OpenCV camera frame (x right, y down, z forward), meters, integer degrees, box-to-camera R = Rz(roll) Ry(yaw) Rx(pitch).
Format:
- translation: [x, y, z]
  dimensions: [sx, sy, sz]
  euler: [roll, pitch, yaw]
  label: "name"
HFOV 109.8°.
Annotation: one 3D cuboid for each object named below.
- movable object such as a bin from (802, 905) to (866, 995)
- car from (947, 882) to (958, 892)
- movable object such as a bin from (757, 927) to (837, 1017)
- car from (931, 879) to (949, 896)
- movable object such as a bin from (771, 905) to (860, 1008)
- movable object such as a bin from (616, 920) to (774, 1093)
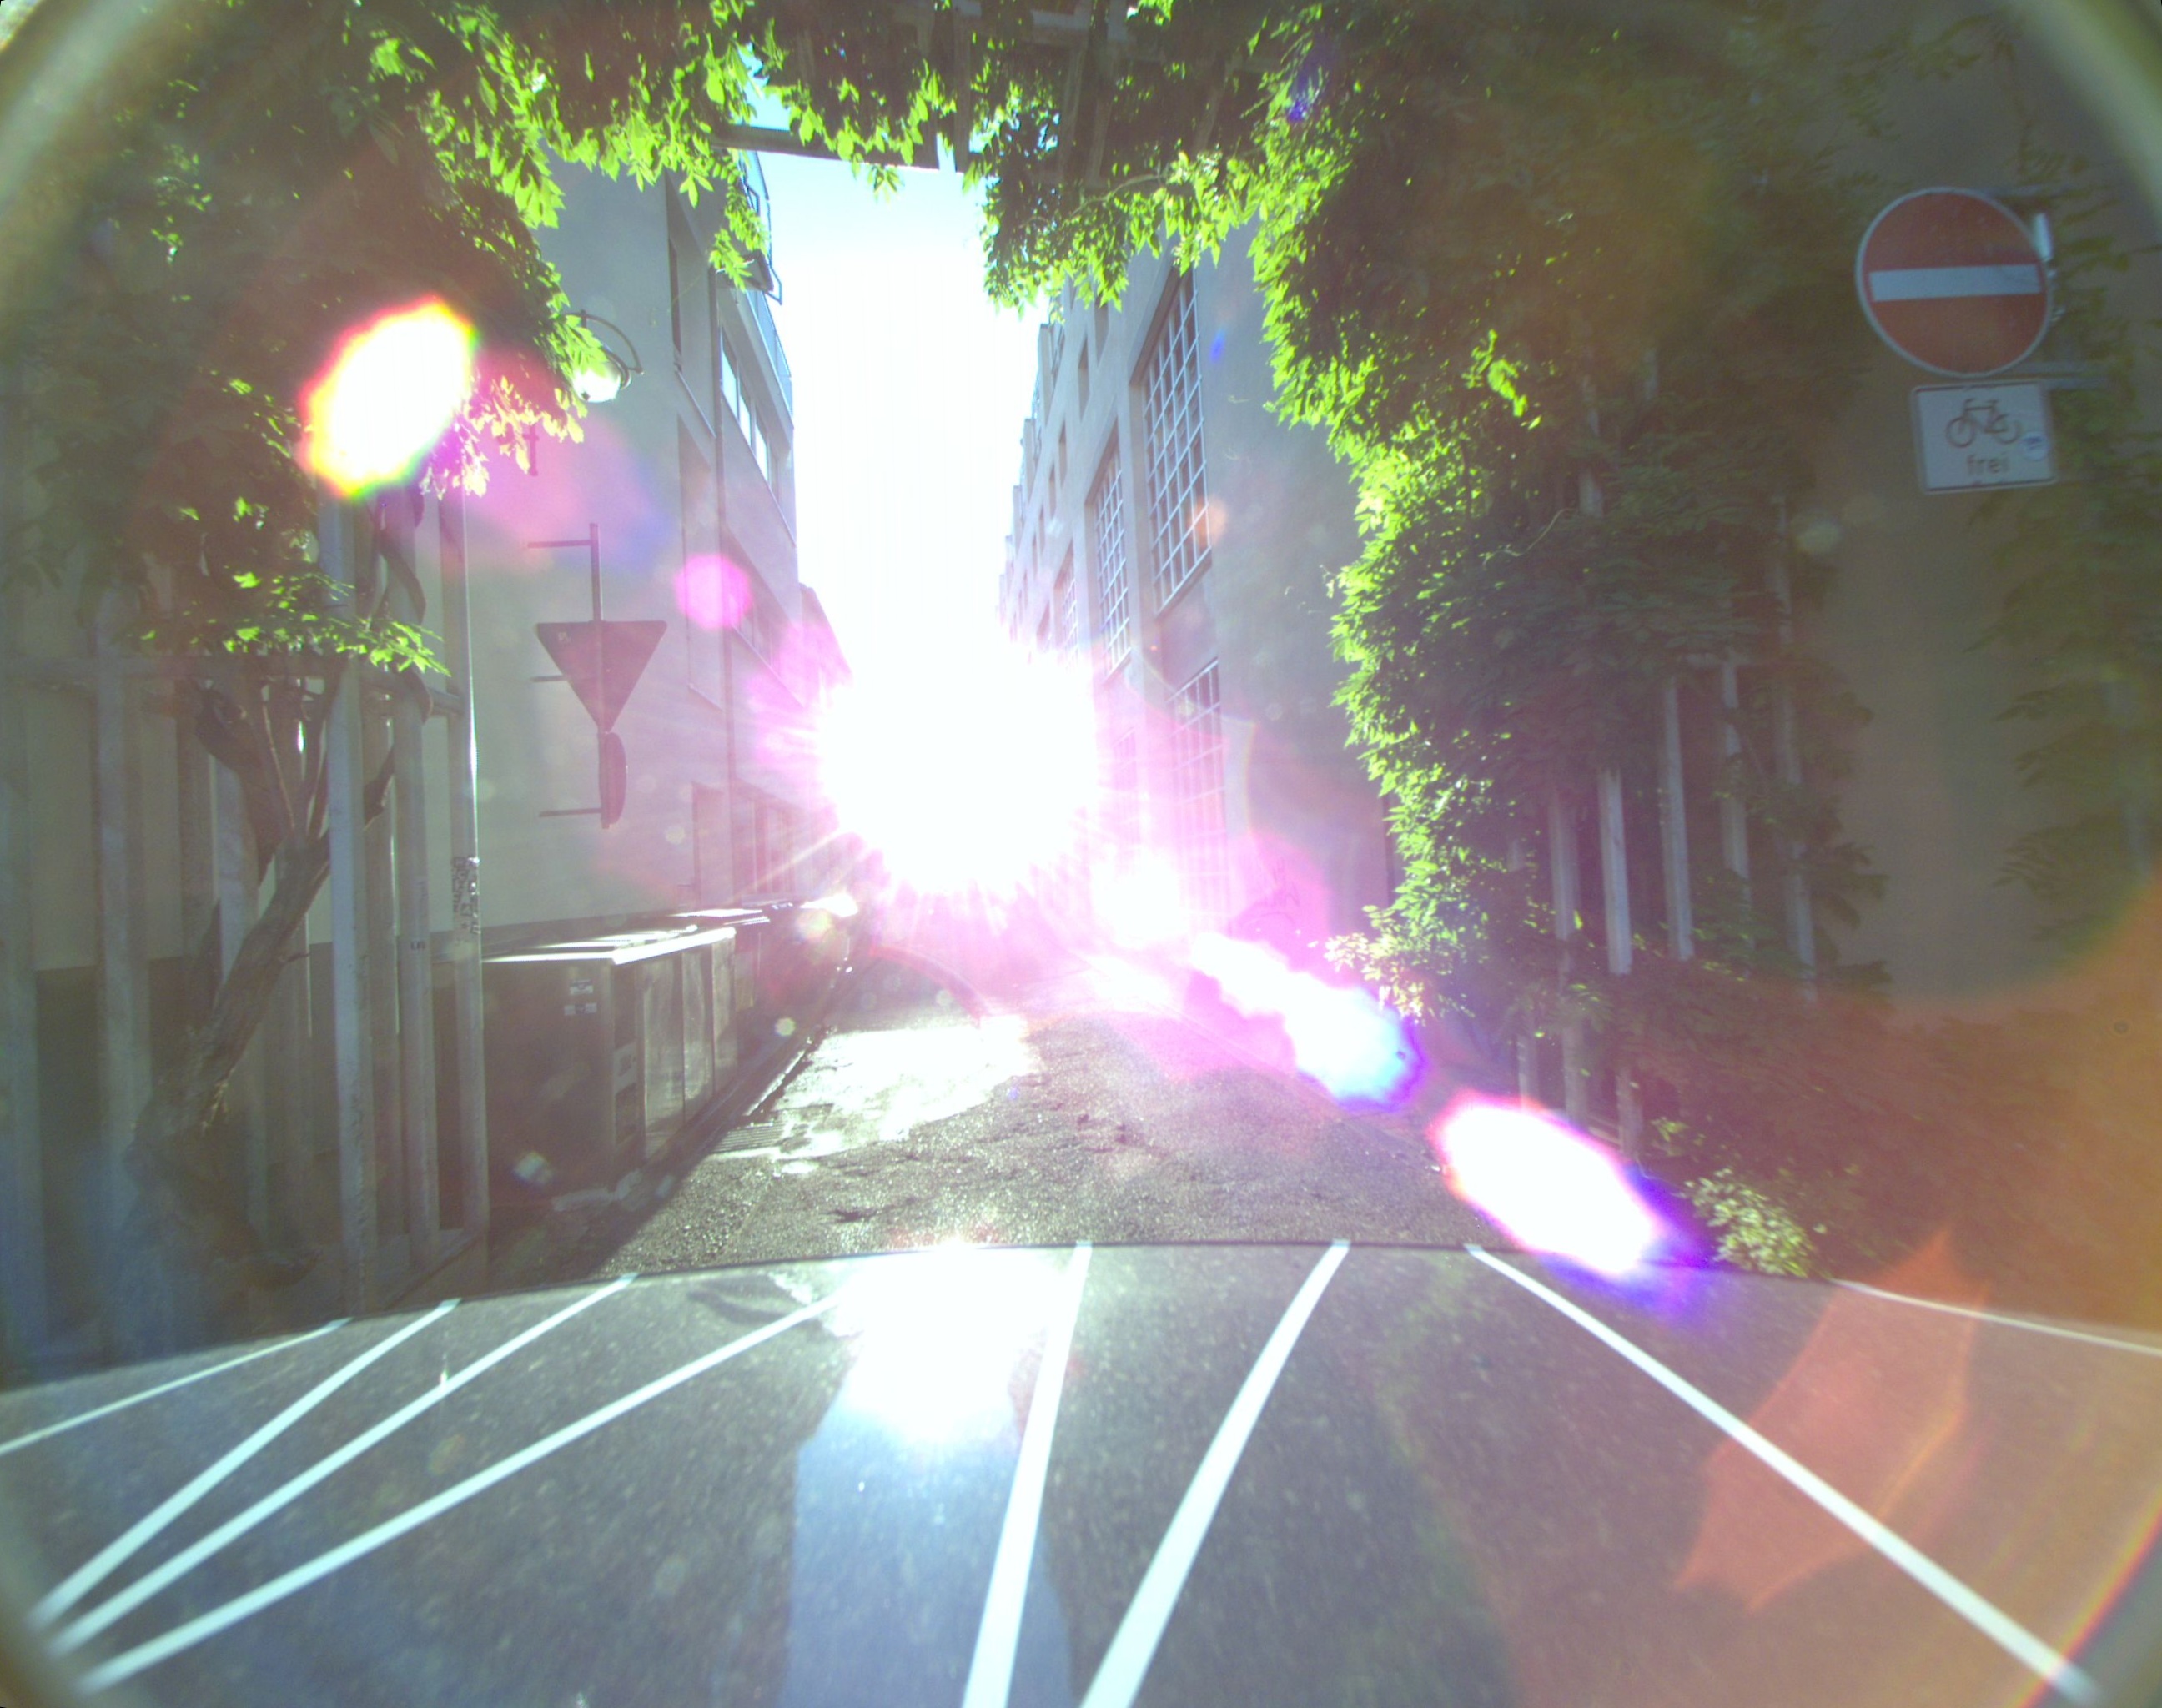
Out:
- translation: [-4.131, 1.568, 12.786]
  dimensions: [0.941, 1.358, 1.341]
  euler: [-1, -2, -15]
  label: "movable object such as a bin"
- translation: [-25.186, 6.463, 149.020]
  dimensions: [2.000, 1.805, 3.997]
  euler: [-5, -1, -11]
  label: "car"
- translation: [-3.778, 1.556, 10.177]
  dimensions: [0.872, 1.068, 0.738]
  euler: [-1, -1, -11]
  label: "movable object such as a bin"
- translation: [-15.544, 3.690, 83.824]
  dimensions: [1.765, 1.756, 4.747]
  euler: [-5, -1, -10]
  label: "car"
- translation: [-3.936, 1.484, 11.397]
  dimensions: [1.068, 1.358, 1.341]
  euler: [-1, -2, -11]
  label: "movable object such as a bin"
- translation: [-3.375, 1.280, 6.783]
  dimensions: [0.838, 1.297, 1.290]
  euler: [-1, -2, -6]
  label: "movable object such as a bin"
